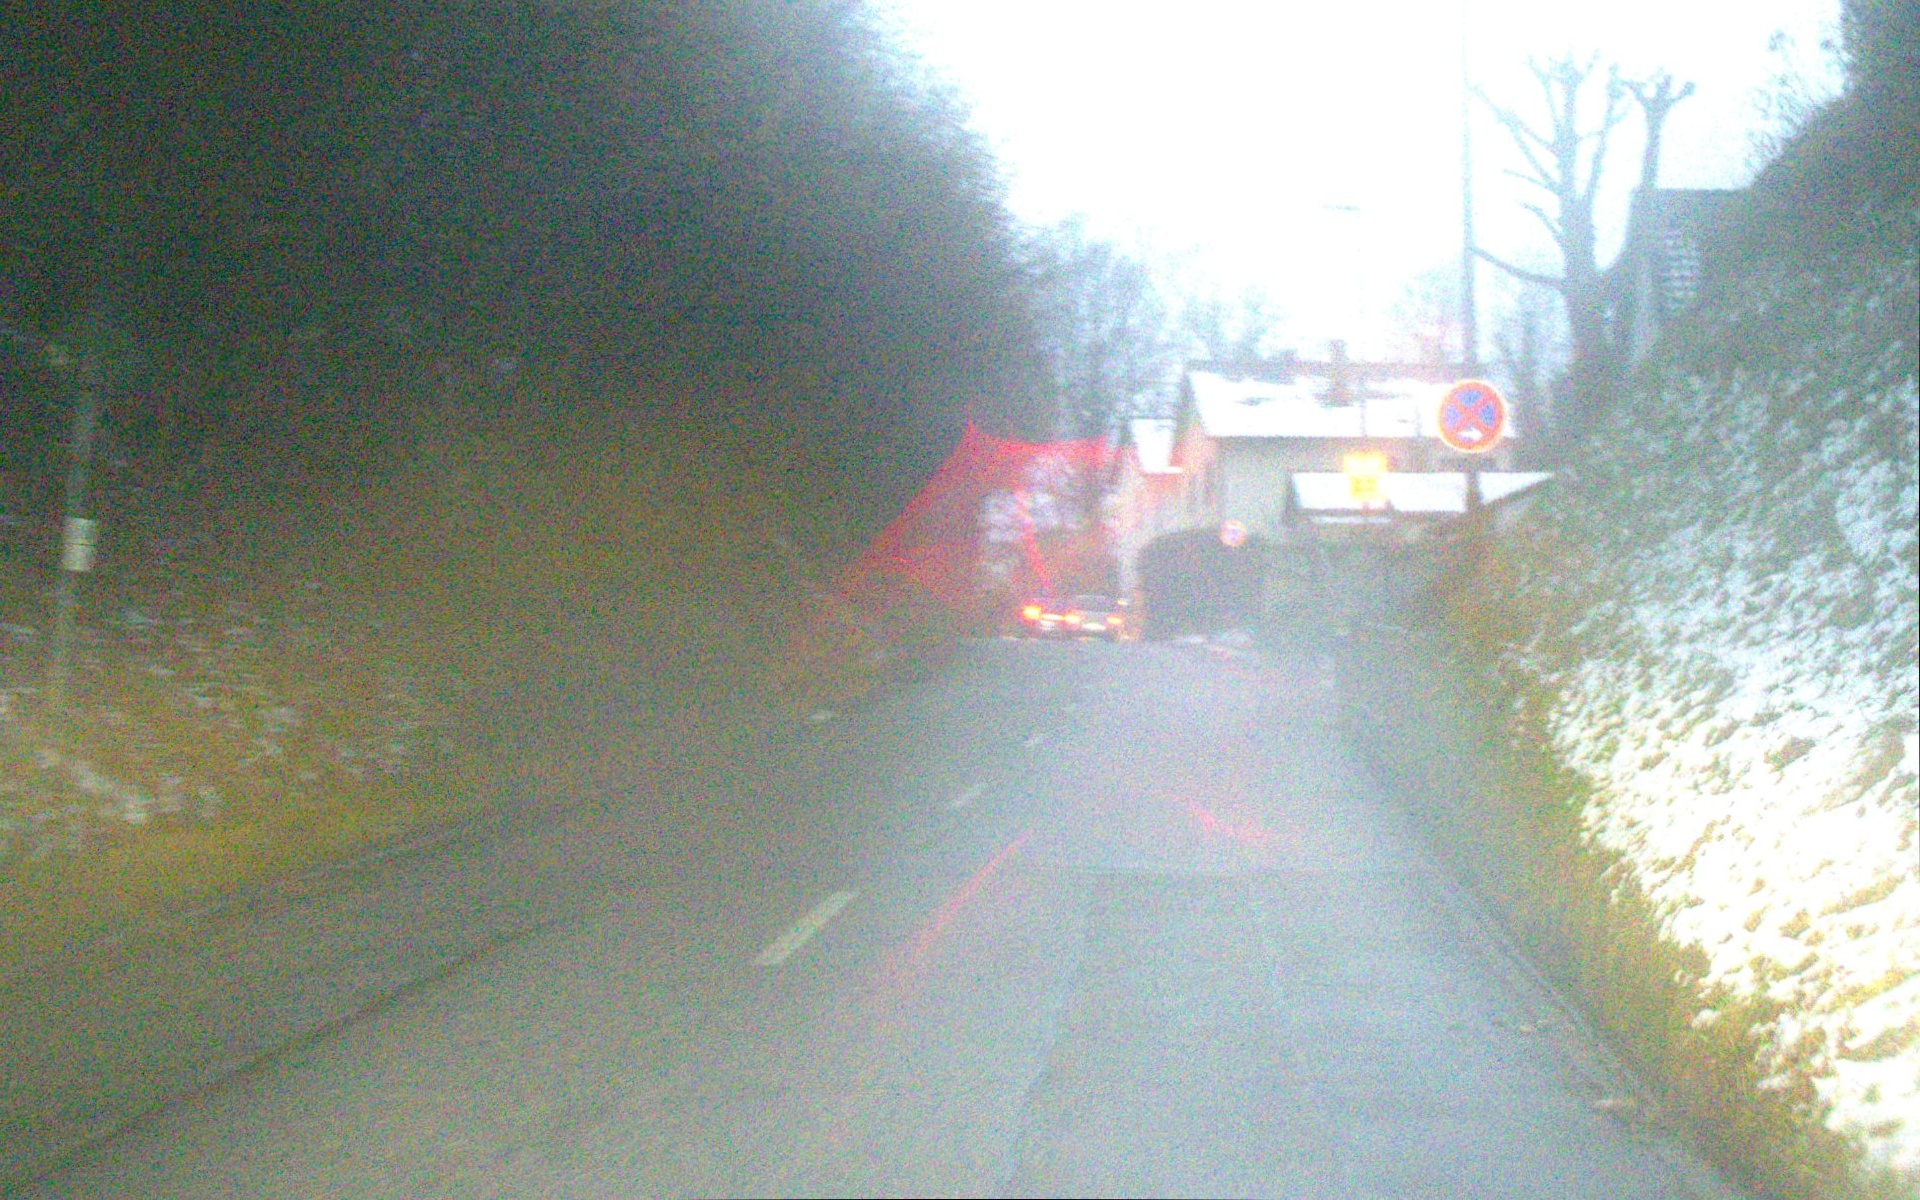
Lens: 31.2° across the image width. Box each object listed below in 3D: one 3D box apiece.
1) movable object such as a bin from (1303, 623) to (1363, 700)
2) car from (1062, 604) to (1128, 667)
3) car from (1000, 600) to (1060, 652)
[{"bbox_3d":[4.992,0.826,45.986,0.685,1.000,0.856,-1,-3,12],"label":"movable object such as a bin"},{"bbox_3d":[4.136,1.116,105.130,1.805,1.732,3.999,3,-2,4],"label":"car"},{"bbox_3d":[2.436,0.909,118.396,1.805,1.612,3.999,3,-2,4],"label":"car"}]
